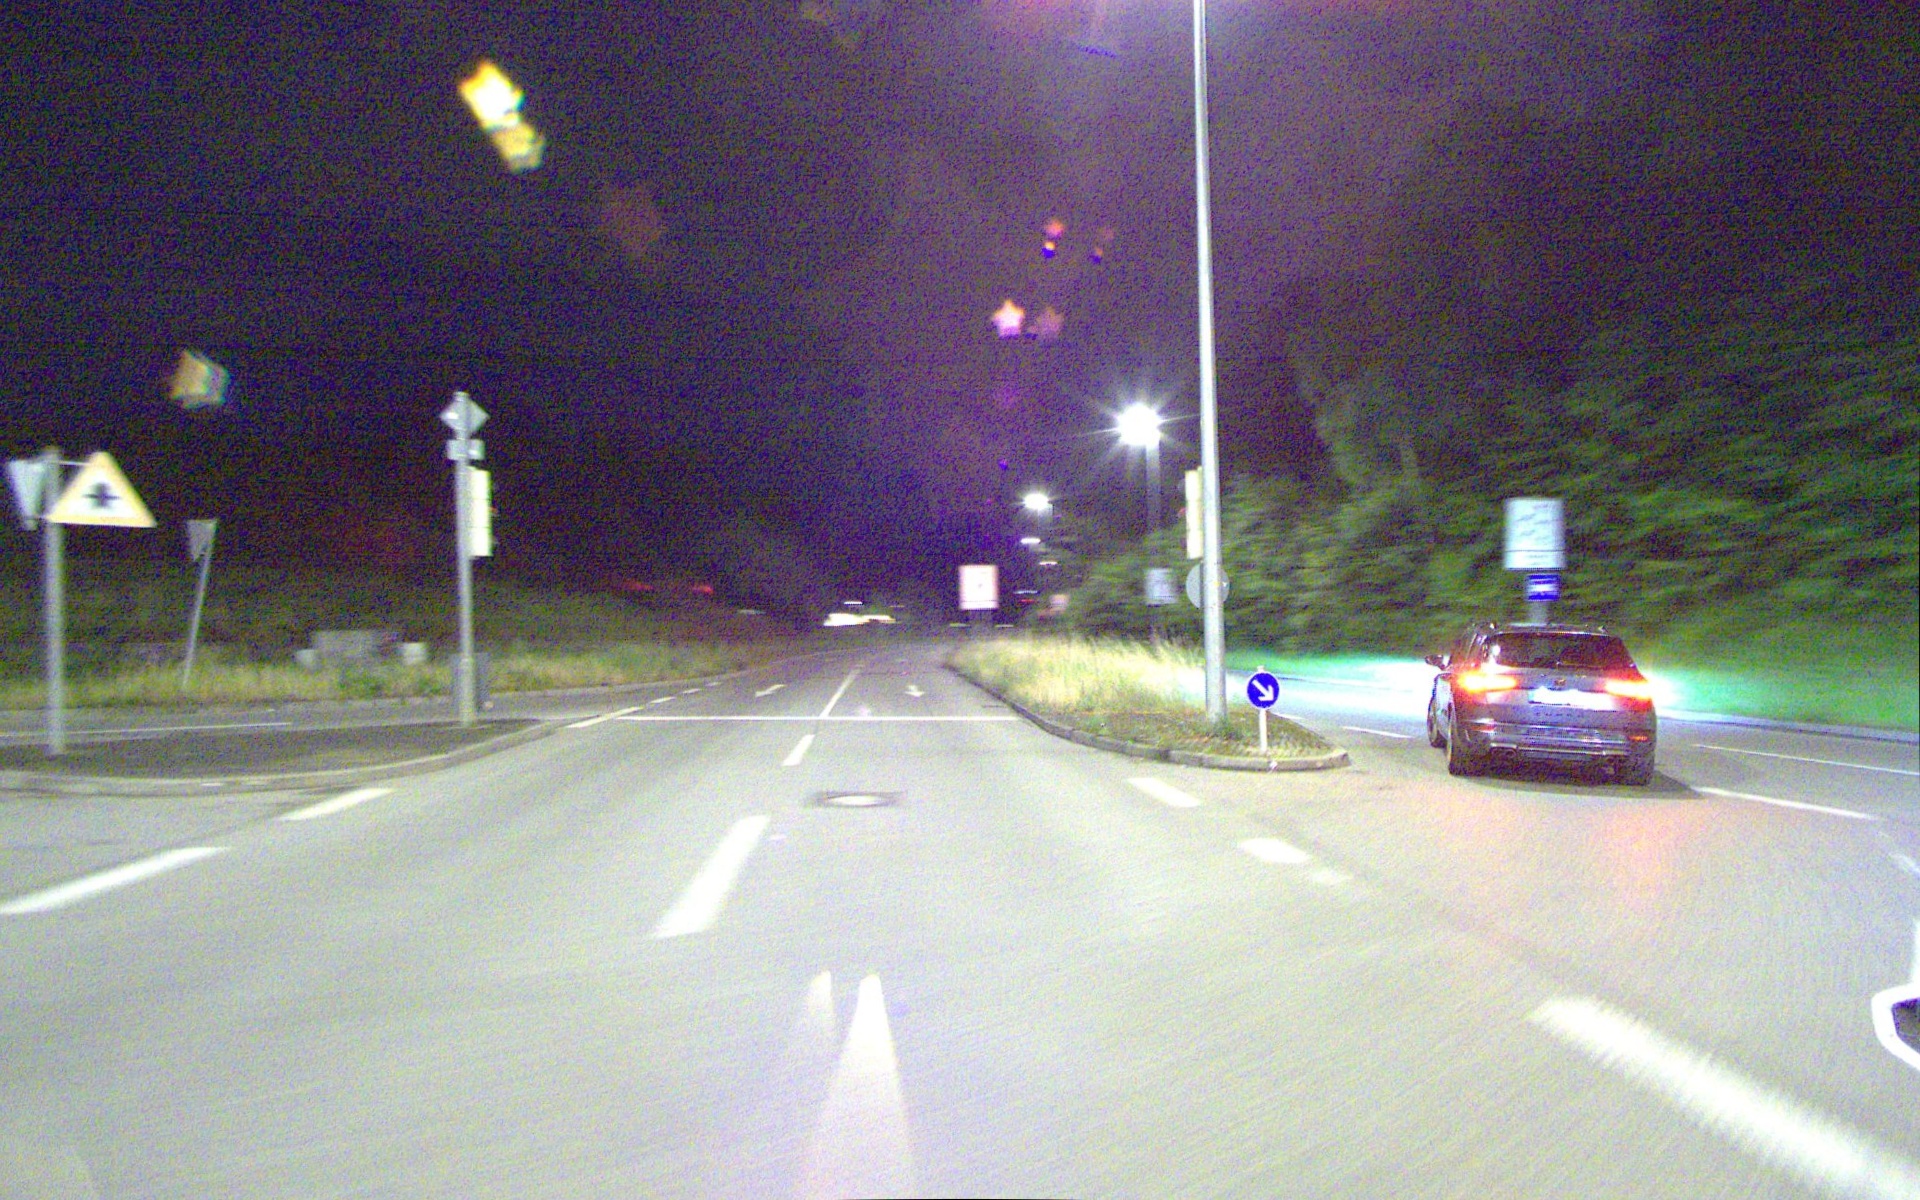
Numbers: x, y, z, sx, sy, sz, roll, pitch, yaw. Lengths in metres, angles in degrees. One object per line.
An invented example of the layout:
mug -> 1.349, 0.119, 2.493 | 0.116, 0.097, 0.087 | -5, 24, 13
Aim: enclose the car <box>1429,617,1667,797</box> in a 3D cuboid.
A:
car -> 6.287, 1.021, 11.182 | 1.822, 1.603, 4.005 | 0, -2, 24
